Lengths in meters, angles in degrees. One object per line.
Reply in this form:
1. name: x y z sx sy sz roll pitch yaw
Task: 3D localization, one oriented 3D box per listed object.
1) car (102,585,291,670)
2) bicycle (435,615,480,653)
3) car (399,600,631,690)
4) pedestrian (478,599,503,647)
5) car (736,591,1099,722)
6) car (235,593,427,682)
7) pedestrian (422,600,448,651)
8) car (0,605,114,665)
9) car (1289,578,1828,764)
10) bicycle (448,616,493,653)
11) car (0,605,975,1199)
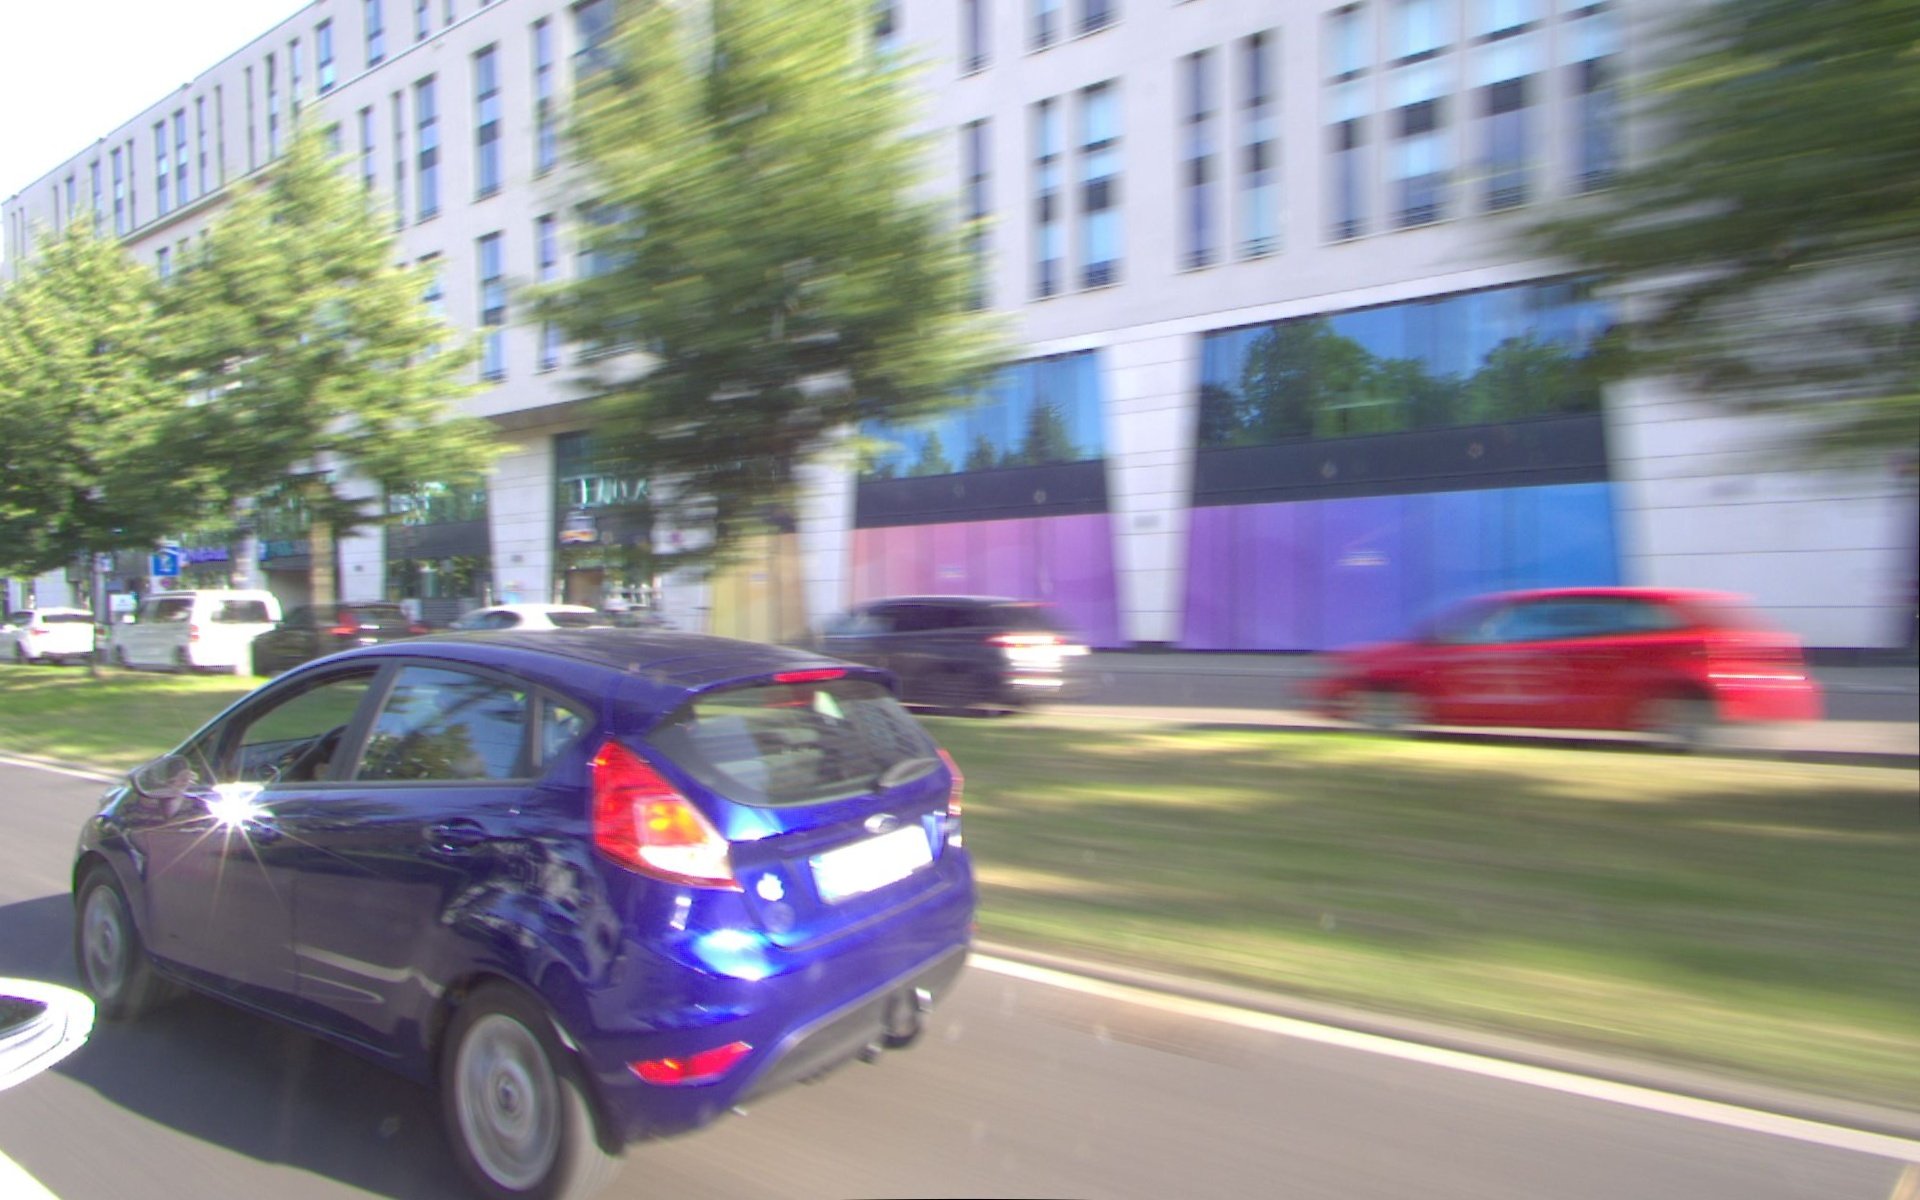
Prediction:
1. car: -18.543 0.679 24.279 4.955 1.900 1.836 -1 -2 29
2. bicycle: -15.343 1.034 30.563 1.708 1.096 0.343 -1 4 32
3. car: -7.861 0.777 17.611 4.105 1.430 1.615 -1 -2 29
4. pedestrian: -15.249 0.746 32.521 0.586 1.541 0.515 0 -1 -3
5. car: -0.660 0.701 13.169 4.656 1.450 1.725 -1 -2 33
6. car: -13.113 0.775 20.807 4.278 1.671 1.725 -1 -2 33
7. pedestrian: -16.682 0.810 31.829 0.530 1.594 0.515 0 -1 12
8. car: -27.290 1.000 29.716 4.776 1.652 1.728 -1 0 29
9. car: 5.408 0.615 9.571 4.052 1.450 1.727 -1 -2 29
10. bicycle: -15.114 1.059 30.915 1.717 1.096 0.343 -1 4 32
11. car: -1.985 0.793 3.832 3.851 1.442 1.558 -1 -2 31
